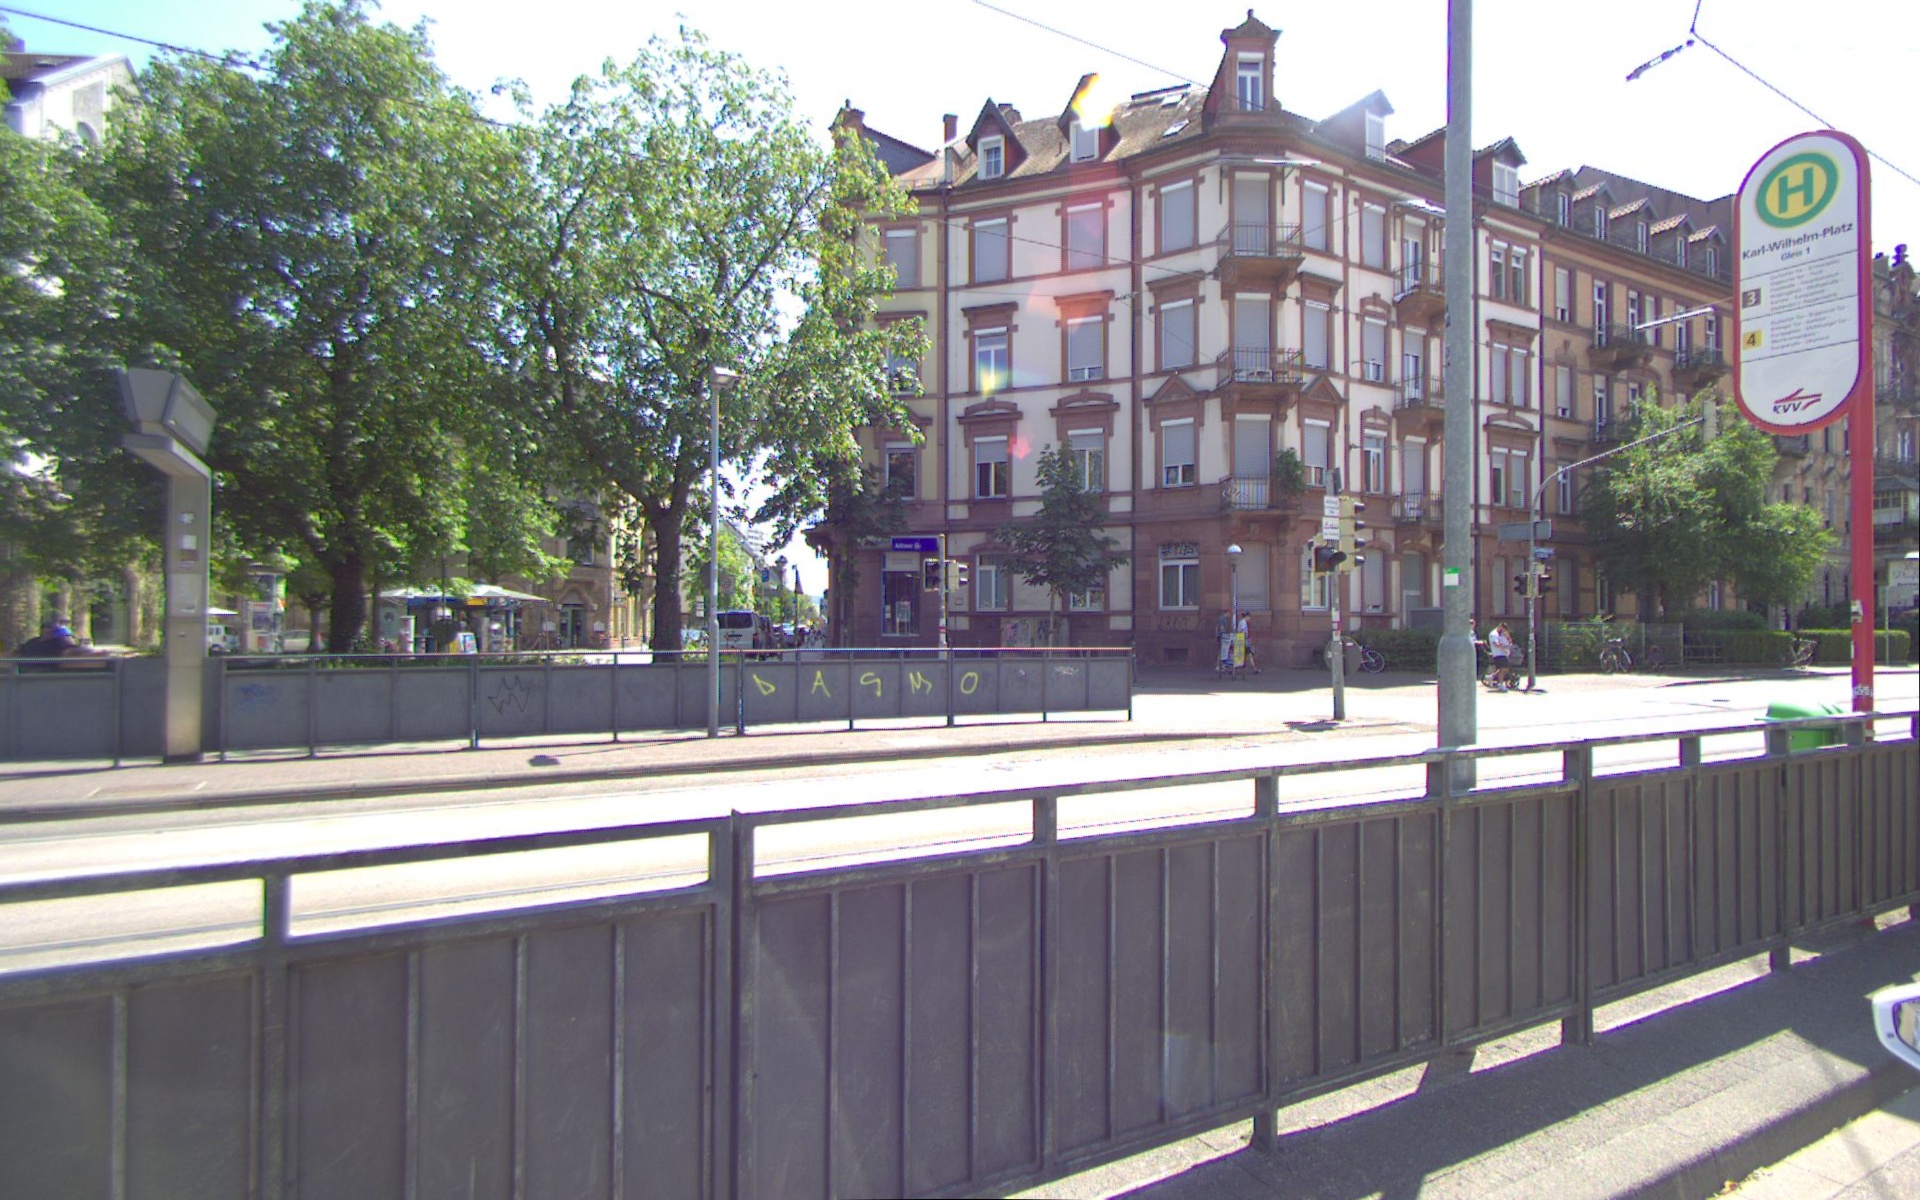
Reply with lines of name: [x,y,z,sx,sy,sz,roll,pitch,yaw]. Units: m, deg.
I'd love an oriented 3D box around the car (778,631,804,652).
car: [-12.570,3.044,74.817,1.512,1.461,3.739,1,-1,-5]

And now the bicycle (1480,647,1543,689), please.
bicycle: [14.112,1.725,25.724,1.375,1.026,0.389,0,-1,21]

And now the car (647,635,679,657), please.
car: [-20.958,3.229,71.062,1.513,1.461,3.738,1,-1,-6]

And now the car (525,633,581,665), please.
car: [-20.298,2.422,50.244,1.512,1.461,3.739,1,-1,-5]

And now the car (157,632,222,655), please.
car: [-31.060,1.744,40.528,0.847,0.876,1.910,0,-1,35]

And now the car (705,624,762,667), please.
car: [-8.272,1.648,36.950,1.512,1.461,3.739,1,-1,-5]

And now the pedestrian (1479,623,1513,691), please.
pedestrian: [13.390,1.418,25.096,0.641,1.637,0.469,1,2,18]

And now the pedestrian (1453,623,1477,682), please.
pedestrian: [13.372,1.386,26.608,0.497,1.536,0.469,1,-1,18]

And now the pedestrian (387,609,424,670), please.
pedestrian: [-18.685,1.333,33.881,0.797,2.040,0.716,0,-1,9]

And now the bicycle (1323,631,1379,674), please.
bicycle: [11.578,1.543,29.727,1.494,1.185,0.364,1,0,34]

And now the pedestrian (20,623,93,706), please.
pedestrian: [-14.604,1.029,16.241,0.607,1.304,0.646,1,-1,21]

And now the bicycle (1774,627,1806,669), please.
bicycle: [28.508,1.622,34.528,0.583,1.374,2.434,0,-1,34]

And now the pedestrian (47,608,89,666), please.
pedestrian: [-27.452,1.128,30.931,0.703,1.774,0.616,1,-1,-6]

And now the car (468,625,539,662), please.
car: [-19.173,1.801,42.362,1.512,1.461,3.739,1,-1,-5]

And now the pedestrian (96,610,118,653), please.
pedestrian: [-32.926,1.210,38.766,0.520,1.644,0.493,1,-1,-30]

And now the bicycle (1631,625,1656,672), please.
bicycle: [21.431,1.512,31.509,0.606,1.414,2.301,0,-1,34]

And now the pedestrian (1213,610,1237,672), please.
pedestrian: [7.733,1.199,29.314,0.500,1.791,0.527,0,-1,39]

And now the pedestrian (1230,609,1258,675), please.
pedestrian: [8.098,1.194,28.649,0.556,1.849,0.632,0,-1,39]

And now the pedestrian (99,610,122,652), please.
pedestrian: [-33.203,1.215,39.272,0.554,1.644,0.510,1,-1,-30]
